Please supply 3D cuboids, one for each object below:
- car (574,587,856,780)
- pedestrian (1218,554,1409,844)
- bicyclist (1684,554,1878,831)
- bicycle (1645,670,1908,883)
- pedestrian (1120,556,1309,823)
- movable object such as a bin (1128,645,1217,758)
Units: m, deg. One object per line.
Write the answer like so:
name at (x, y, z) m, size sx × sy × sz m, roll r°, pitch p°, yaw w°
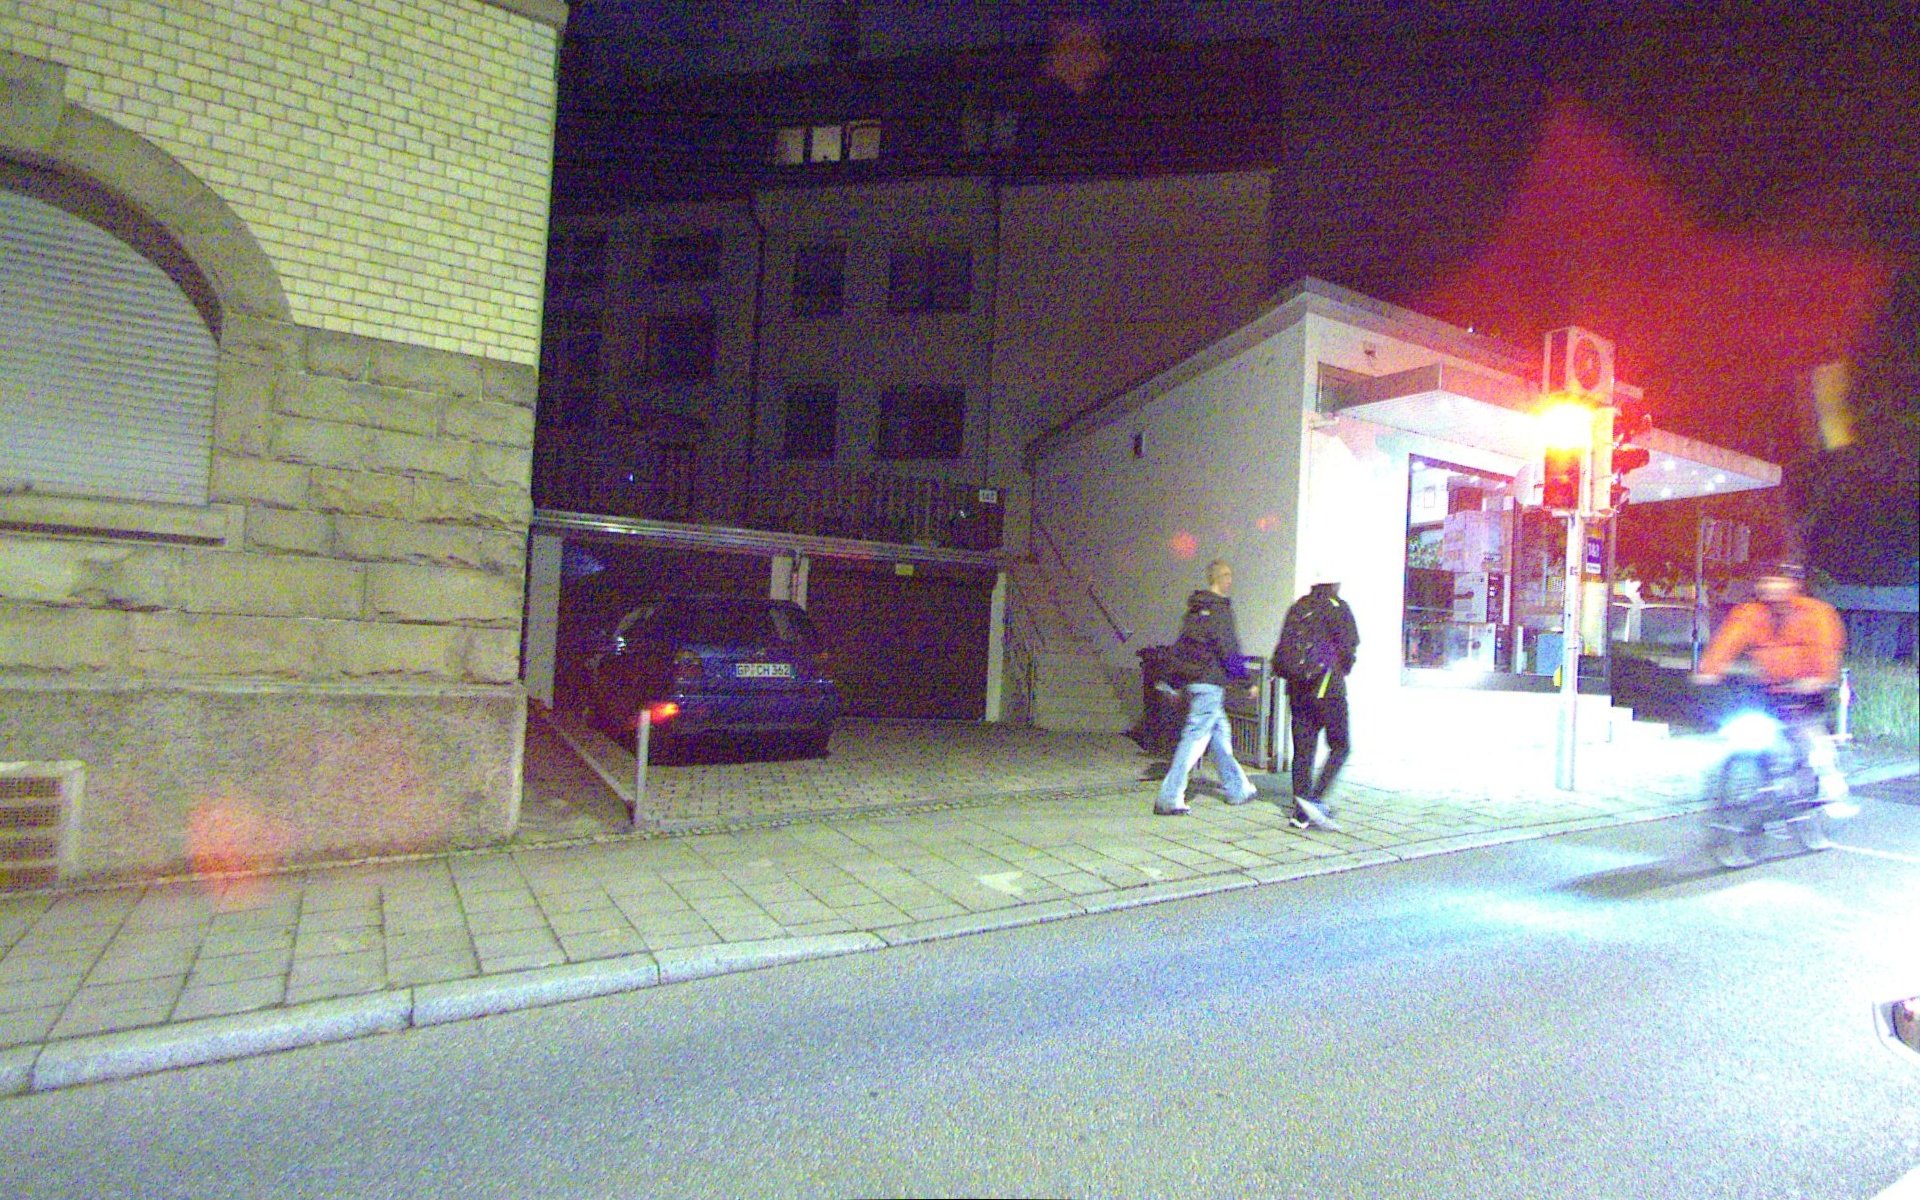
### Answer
car at (-2.456, 0.648, 9.497) m, size 1.655 × 1.470 × 3.341 m, roll 2°, pitch -1°, yaw -31°
pedestrian at (2.348, 0.619, 6.682) m, size 1.017 × 1.768 × 0.672 m, roll 2°, pitch 0°, yaw -31°
bicyclist at (5.338, 0.563, 6.540) m, size 0.886 × 1.659 × 0.687 m, roll 2°, pitch 0°, yaw -30°
bicycle at (5.359, 1.069, 6.560) m, size 1.928 × 1.164 × 0.693 m, roll 2°, pitch 0°, yaw -30°
pedestrian at (1.839, 0.609, 7.263) m, size 1.091 × 1.768 × 0.738 m, roll 2°, pitch 0°, yaw -31°
movable object such as a bin at (2.113, 0.995, 10.027) m, size 0.643 × 1.063 × 0.639 m, roll 2°, pitch 0°, yaw -12°
